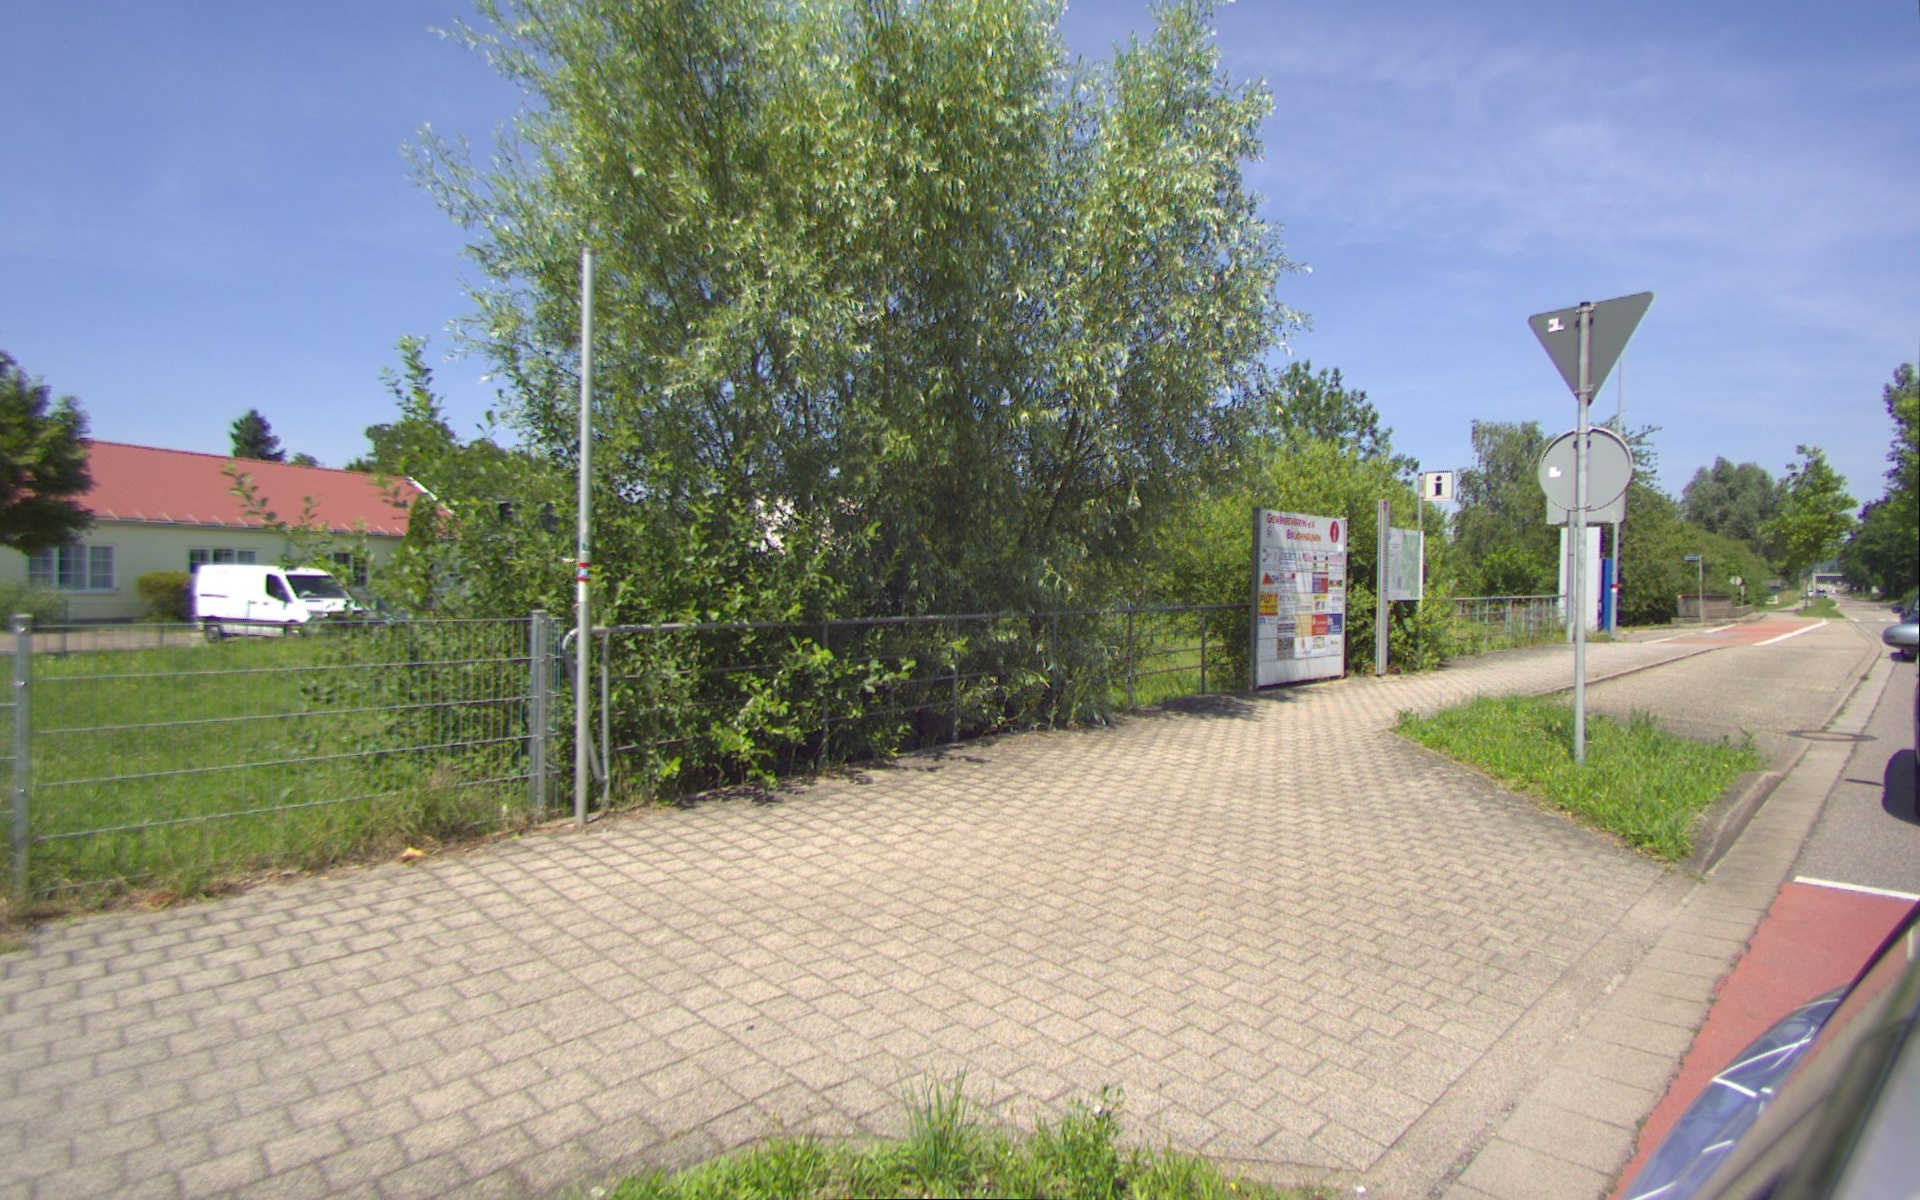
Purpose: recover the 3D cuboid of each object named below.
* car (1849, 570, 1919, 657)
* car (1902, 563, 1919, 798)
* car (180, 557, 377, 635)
[{"bbox_3d":[18.706,0.235,19.602,4.061,1.559,1.791,0,1,-42],"label":"car"},{"bbox_3d":[7.736,0.524,6.939,1.744,1.553,4.457,1,1,42],"label":"car"},{"bbox_3d":[-20.572,-0.102,30.598,5.112,2.229,2.204,-1,0,16],"label":"car"}]
